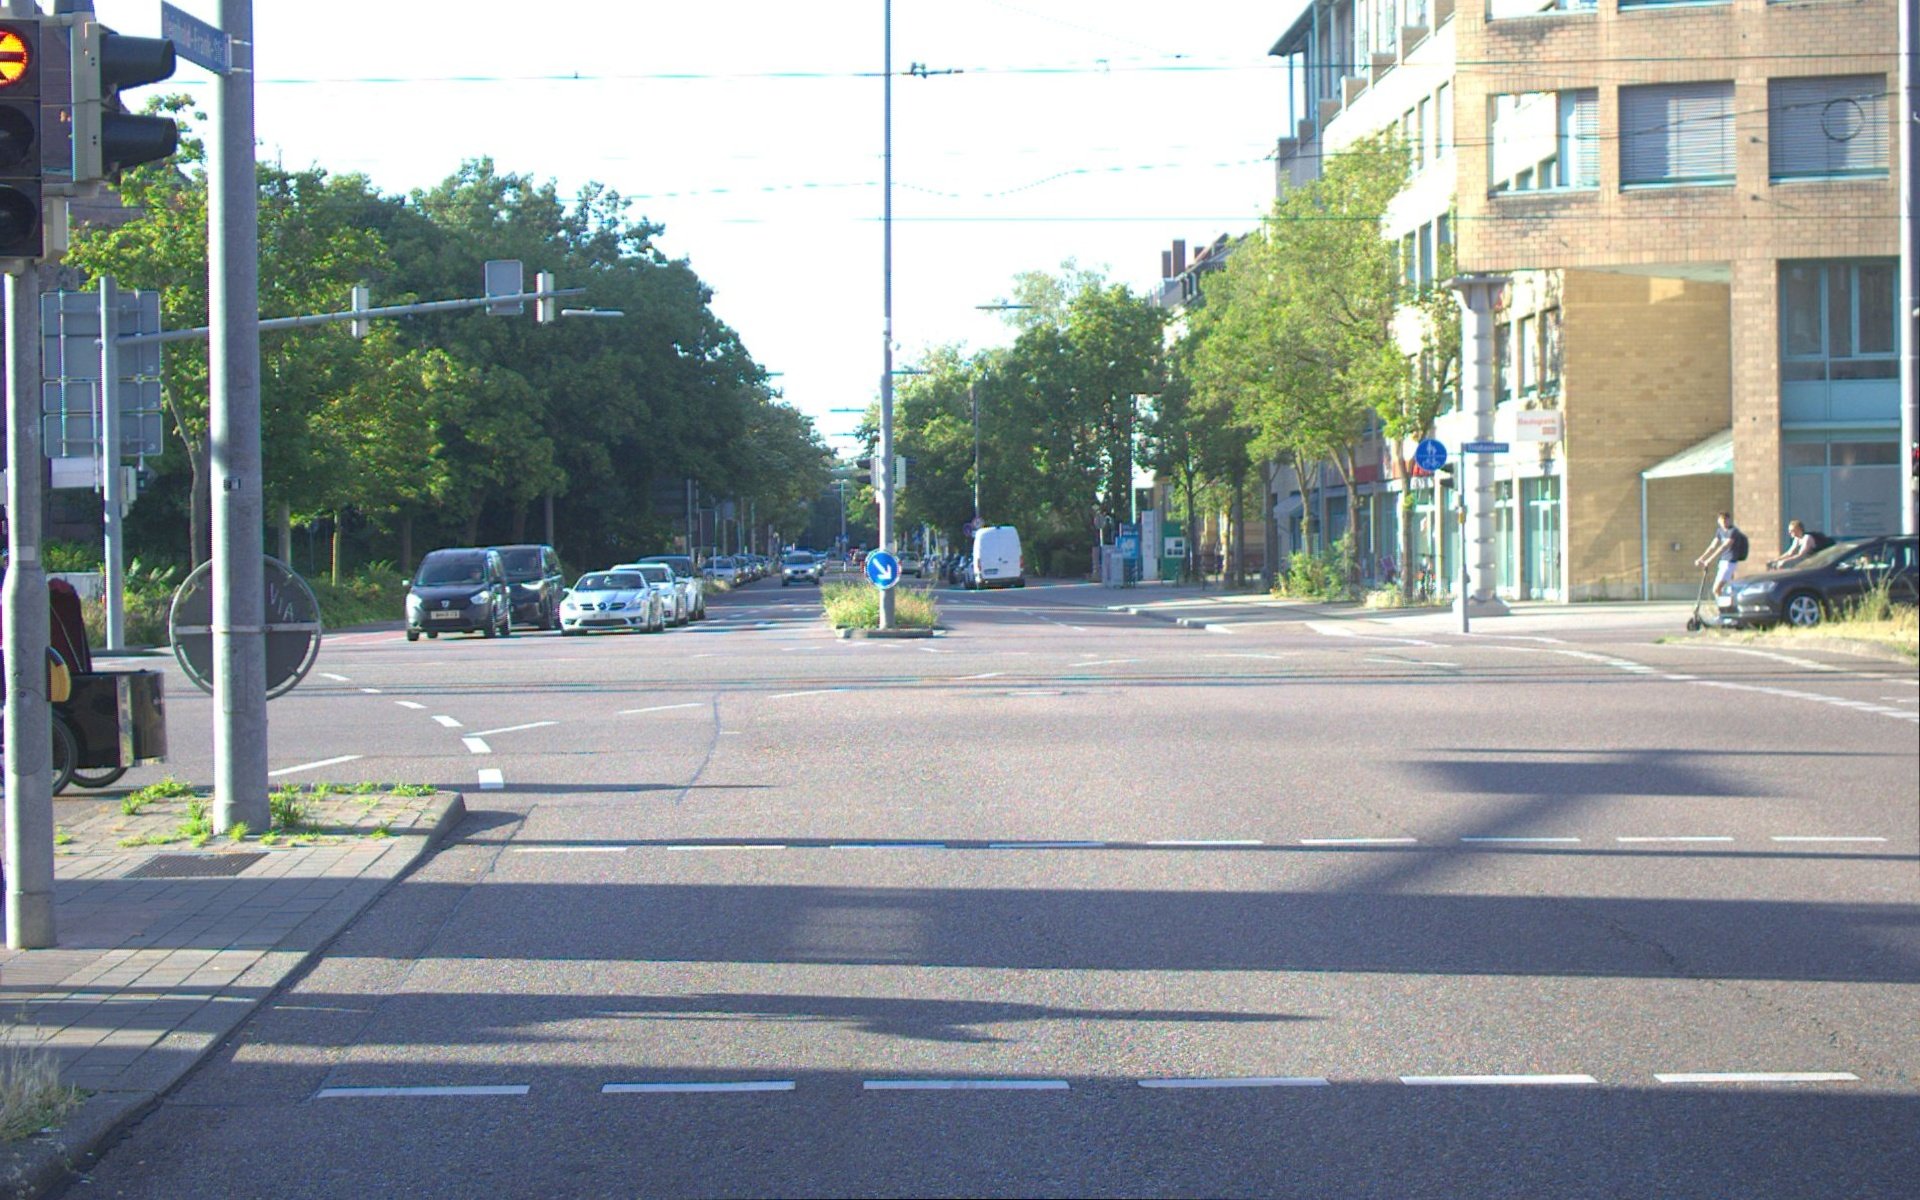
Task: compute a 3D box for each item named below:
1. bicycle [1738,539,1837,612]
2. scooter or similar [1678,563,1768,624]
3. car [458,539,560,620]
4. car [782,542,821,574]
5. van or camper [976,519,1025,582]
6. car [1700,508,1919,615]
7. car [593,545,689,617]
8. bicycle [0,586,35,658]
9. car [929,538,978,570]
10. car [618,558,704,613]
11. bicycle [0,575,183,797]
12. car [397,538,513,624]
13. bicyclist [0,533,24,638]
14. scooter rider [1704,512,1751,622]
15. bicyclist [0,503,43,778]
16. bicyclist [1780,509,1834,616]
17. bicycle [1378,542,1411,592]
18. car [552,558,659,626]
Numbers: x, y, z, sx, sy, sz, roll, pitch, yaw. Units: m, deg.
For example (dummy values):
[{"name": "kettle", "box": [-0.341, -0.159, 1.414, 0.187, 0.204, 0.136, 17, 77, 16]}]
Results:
[{"name": "bicycle", "box": [13.549, -0.400, 56.322, 1.520, 1.168, 0.475, -1, 1, 5]}, {"name": "scooter or similar", "box": [12.687, -0.106, 57.168, 1.401, 0.998, 0.475, -1, 1, 5]}, {"name": "car", "box": [-9.923, -0.469, 75.824, 1.780, 1.698, 4.000, -1, 1, -1]}, {"name": "car", "box": [-7.669, -2.042, 166.315, 1.780, 1.444, 4.000, -1, 1, -1]}, {"name": "van or camper", "box": [1.732, -2.164, 147.820, 1.993, 2.631, 5.350, -1, 1, 0]}, {"name": "car", "box": [14.032, -0.624, 53.222, 4.646, 1.592, 2.000, -1, 1, -4]}, {"name": "car", "box": [-6.886, -0.433, 74.515, 1.780, 1.459, 4.000, -1, 1, -1]}, {"name": "bicycle", "box": [-15.627, 0.347, 55.679, 0.645, 1.135, 1.679, -2, 2, -38]}, {"name": "car", "box": [-0.349, -2.326, 173.021, 1.993, 1.587, 4.001, -1, 1, -7]}, {"name": "car", "box": [-7.102, -0.362, 81.973, 1.780, 1.232, 4.000, -1, 1, -1]}, {"name": "bicycle", "box": [-5.447, 0.466, 19.054, 2.042, 1.164, 1.162, -1, 1, -3]}, {"name": "car", "box": [-10.023, -0.405, 68.420, 1.780, 1.641, 4.000, -1, 1, -1]}, {"name": "bicyclist", "box": [-15.624, -0.233, 55.643, 0.639, 1.688, 0.782, -1, 1, -38]}, {"name": "scooter rider", "box": [12.757, -0.547, 57.153, 0.680, 1.808, 0.475, -1, 1, 5]}, {"name": "bicyclist", "box": [-5.655, 0.212, 19.029, 0.879, 1.482, 1.162, -1, 1, -3]}, {"name": "bicyclist", "box": [13.874, -0.621, 56.307, 0.790, 1.730, 0.475, -1, 1, 5]}, {"name": "bicycle", "box": [10.865, -0.836, 85.960, 0.773, 1.191, 2.464, -1, 1, 6]}, {"name": "car", "box": [-6.975, -0.175, 67.940, 1.780, 1.232, 4.000, -1, 1, -1]}]
